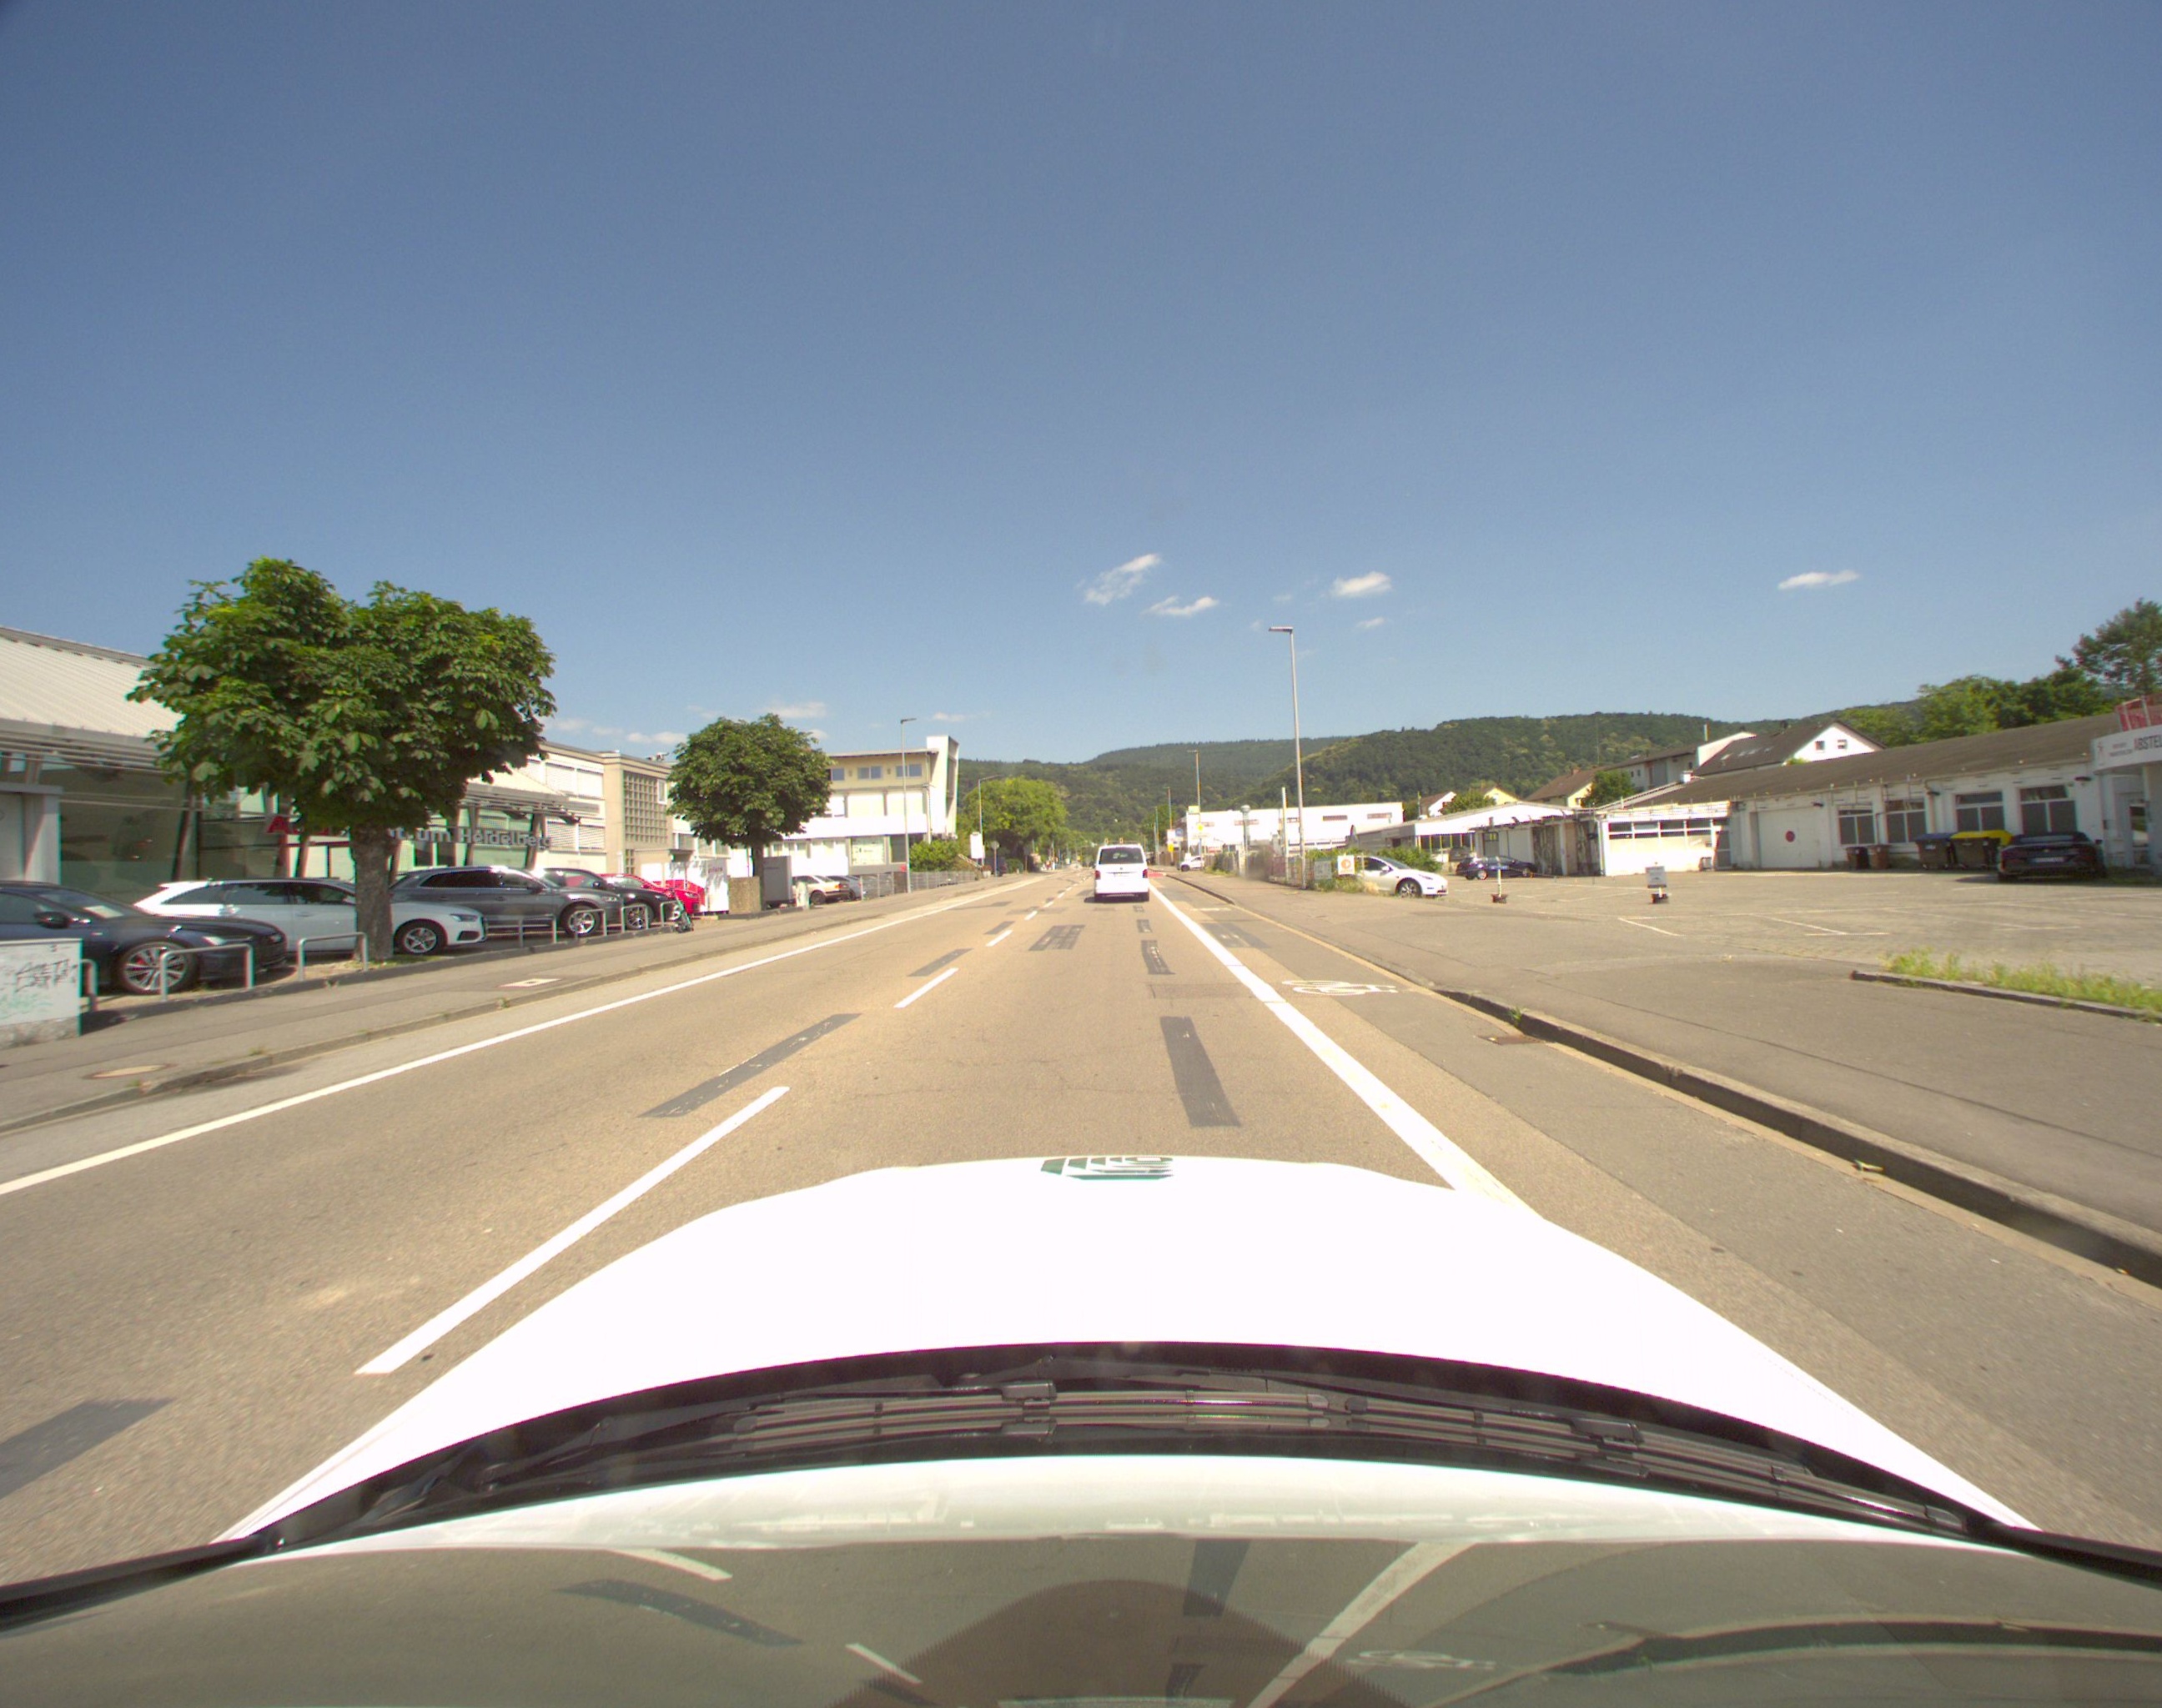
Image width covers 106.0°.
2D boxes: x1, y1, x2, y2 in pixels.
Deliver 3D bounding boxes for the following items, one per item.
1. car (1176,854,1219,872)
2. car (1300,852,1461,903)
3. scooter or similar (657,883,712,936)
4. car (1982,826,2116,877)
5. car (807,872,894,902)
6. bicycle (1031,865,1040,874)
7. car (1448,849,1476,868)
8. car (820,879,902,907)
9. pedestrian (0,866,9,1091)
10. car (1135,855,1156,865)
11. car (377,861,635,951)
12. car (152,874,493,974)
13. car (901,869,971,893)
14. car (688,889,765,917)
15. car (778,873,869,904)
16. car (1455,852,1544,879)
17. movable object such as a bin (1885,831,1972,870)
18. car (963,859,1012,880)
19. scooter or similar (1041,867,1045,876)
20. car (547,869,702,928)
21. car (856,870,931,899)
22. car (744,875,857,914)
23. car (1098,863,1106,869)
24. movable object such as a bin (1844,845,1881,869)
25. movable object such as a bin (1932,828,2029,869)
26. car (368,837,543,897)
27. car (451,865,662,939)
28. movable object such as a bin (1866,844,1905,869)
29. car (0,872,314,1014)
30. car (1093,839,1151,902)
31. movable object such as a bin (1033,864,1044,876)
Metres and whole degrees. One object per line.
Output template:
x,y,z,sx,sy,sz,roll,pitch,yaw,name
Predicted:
10.343,0.790,72.259,3.648,1.484,1.730,-2,-1,4,car
10.576,0.883,29.050,4.984,1.622,2.035,-3,-6,45,car
-10.138,1.400,20.865,0.742,1.247,1.488,-2,-1,-5,scooter or similar
27.069,-0.029,22.930,1.871,1.290,4.581,-2,-2,43,car
-12.015,1.744,42.634,3.974,1.443,1.858,1,-3,0,car
-6.015,2.030,108.303,1.023,1.118,2.765,0,-1,0,bicycle
36.383,0.443,77.729,1.974,1.647,4.026,-1,1,32,car
-12.192,2.178,45.353,3.976,1.491,1.857,1,-3,-2,car
-9.387,1.047,6.301,0.730,1.867,1.047,-3,-1,1,pedestrian
12.570,1.166,158.389,3.964,1.775,2.005,-4,-1,8,car
-12.920,1.089,18.664,4.598,1.696,1.840,-2,-1,-33,car
-13.291,1.152,14.711,4.219,1.495,1.855,0,-2,-33,car
-10.734,1.998,60.614,4.722,1.481,2.048,-3,-1,1,car
-22.423,3.076,51.549,3.973,1.546,1.859,-2,-1,1,car
-12.709,1.735,40.423,3.880,1.445,1.821,1,-3,-3,car
25.285,0.702,49.363,4.307,1.398,2.122,-2,-1,6,car
33.680,-0.126,32.398,1.566,1.455,1.754,-2,-1,-2,movable object such as a bin
-9.156,1.477,80.276,4.555,1.865,2.090,-2,-1,-3,car
-5.239,2.398,112.123,0.645,1.128,1.620,0,-1,-4,scooter or similar
-13.999,1.333,25.204,4.011,1.550,1.842,-2,-1,-29,car
-12.060,1.939,52.609,4.284,1.558,1.994,-3,-1,-2,car
-12.989,1.860,37.865,4.509,1.457,1.900,-3,-1,0,car
5.291,2.986,204.606,1.986,1.370,4.328,-3,-1,2,car
34.290,0.140,35.739,0.744,0.992,0.875,-2,-1,-2,movable object such as a bin
33.713,-0.185,30.567,1.566,1.455,1.824,-2,-1,-2,movable object such as a bin
-19.897,0.393,26.147,1.979,1.684,4.016,-3,-1,15,car
-13.711,1.185,21.541,4.498,1.708,1.891,0,-1,-33,car
34.315,0.115,34.752,0.744,1.036,0.875,-2,-1,-2,movable object such as a bin
-13.511,1.112,10.825,4.499,1.608,1.945,2,1,-33,car
1.423,0.576,29.409,1.928,2.060,4.545,0,-1,1,car
-6.100,2.272,117.828,1.446,1.590,1.304,-3,-1,-6,movable object such as a bin
